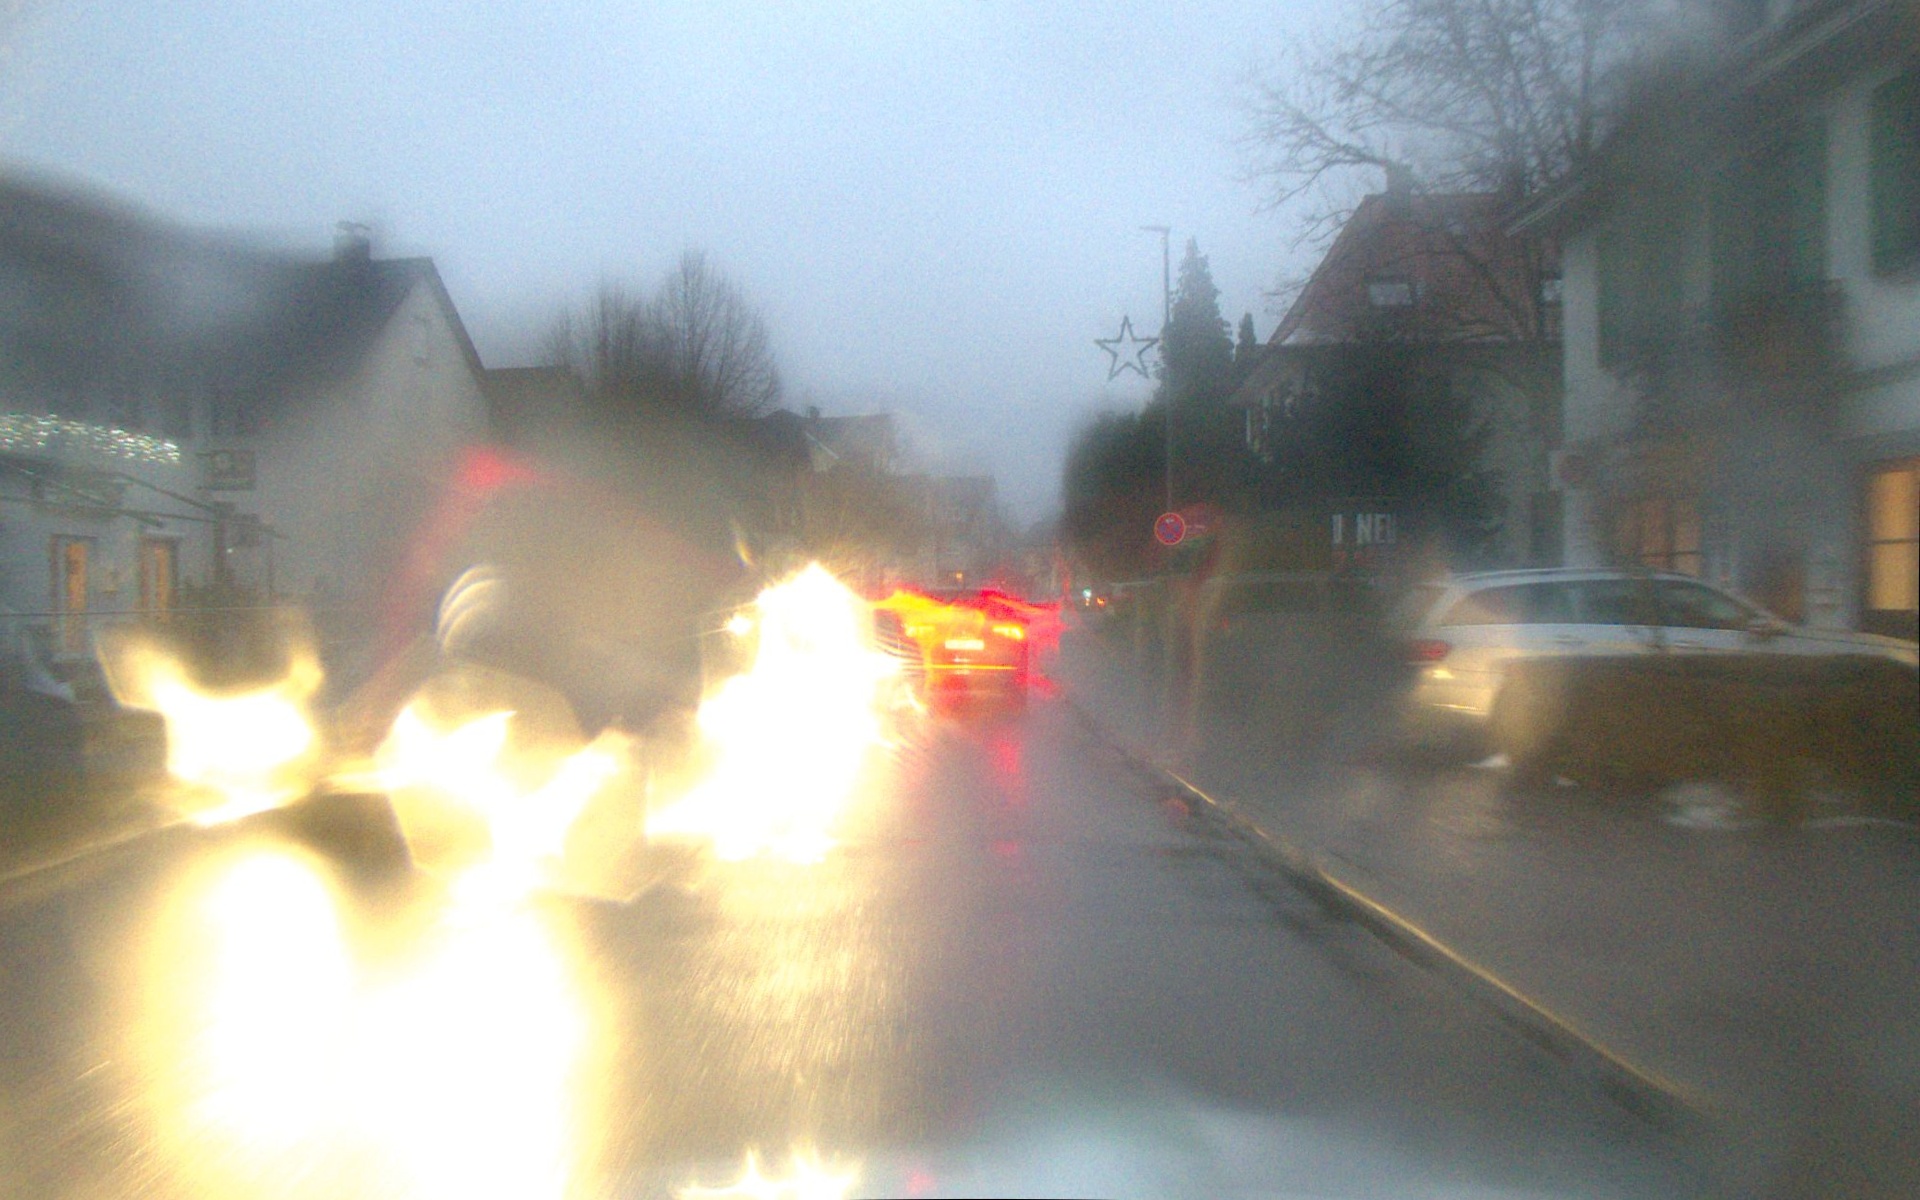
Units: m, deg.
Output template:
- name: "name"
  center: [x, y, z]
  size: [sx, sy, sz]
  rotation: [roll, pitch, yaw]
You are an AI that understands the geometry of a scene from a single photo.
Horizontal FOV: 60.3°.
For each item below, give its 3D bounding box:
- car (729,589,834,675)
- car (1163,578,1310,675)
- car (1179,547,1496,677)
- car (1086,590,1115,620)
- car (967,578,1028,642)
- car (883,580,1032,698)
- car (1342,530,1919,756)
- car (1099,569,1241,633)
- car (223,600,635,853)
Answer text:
- name: "car"
  center: [-3.762, 0.626, 35.462]
  size: [1.777, 1.661, 4.224]
  rotation: [-2, 0, -1]
- name: "car"
  center: [4.871, 0.412, 29.740]
  size: [1.854, 1.581, 4.755]
  rotation: [-1, 0, 0]
- name: "car"
  center: [5.253, 0.169, 23.425]
  size: [4.018, 1.736, 1.999]
  rotation: [0, -1, -1]
- name: "car"
  center: [10.044, 0.310, 118.142]
  size: [1.952, 2.049, 4.002]
  rotation: [-1, 1, 4]
- name: "car"
  center: [1.265, 0.322, 55.286]
  size: [1.952, 2.049, 4.001]
  rotation: [0, 0, 2]
- name: "car"
  center: [-0.088, 0.498, 23.747]
  size: [1.953, 1.552, 3.999]
  rotation: [0, 0, -2]
- name: "car"
  center: [5.817, 0.337, 14.238]
  size: [4.634, 1.658, 1.908]
  rotation: [-2, 0, 4]
- name: "car"
  center: [6.727, 0.022, 53.305]
  size: [4.234, 1.762, 2.000]
  rotation: [-3, 0, 0]
- name: "car"
  center: [-3.683, 0.773, 12.338]
  size: [1.669, 1.466, 4.424]
  rotation: [-2, 0, -1]
